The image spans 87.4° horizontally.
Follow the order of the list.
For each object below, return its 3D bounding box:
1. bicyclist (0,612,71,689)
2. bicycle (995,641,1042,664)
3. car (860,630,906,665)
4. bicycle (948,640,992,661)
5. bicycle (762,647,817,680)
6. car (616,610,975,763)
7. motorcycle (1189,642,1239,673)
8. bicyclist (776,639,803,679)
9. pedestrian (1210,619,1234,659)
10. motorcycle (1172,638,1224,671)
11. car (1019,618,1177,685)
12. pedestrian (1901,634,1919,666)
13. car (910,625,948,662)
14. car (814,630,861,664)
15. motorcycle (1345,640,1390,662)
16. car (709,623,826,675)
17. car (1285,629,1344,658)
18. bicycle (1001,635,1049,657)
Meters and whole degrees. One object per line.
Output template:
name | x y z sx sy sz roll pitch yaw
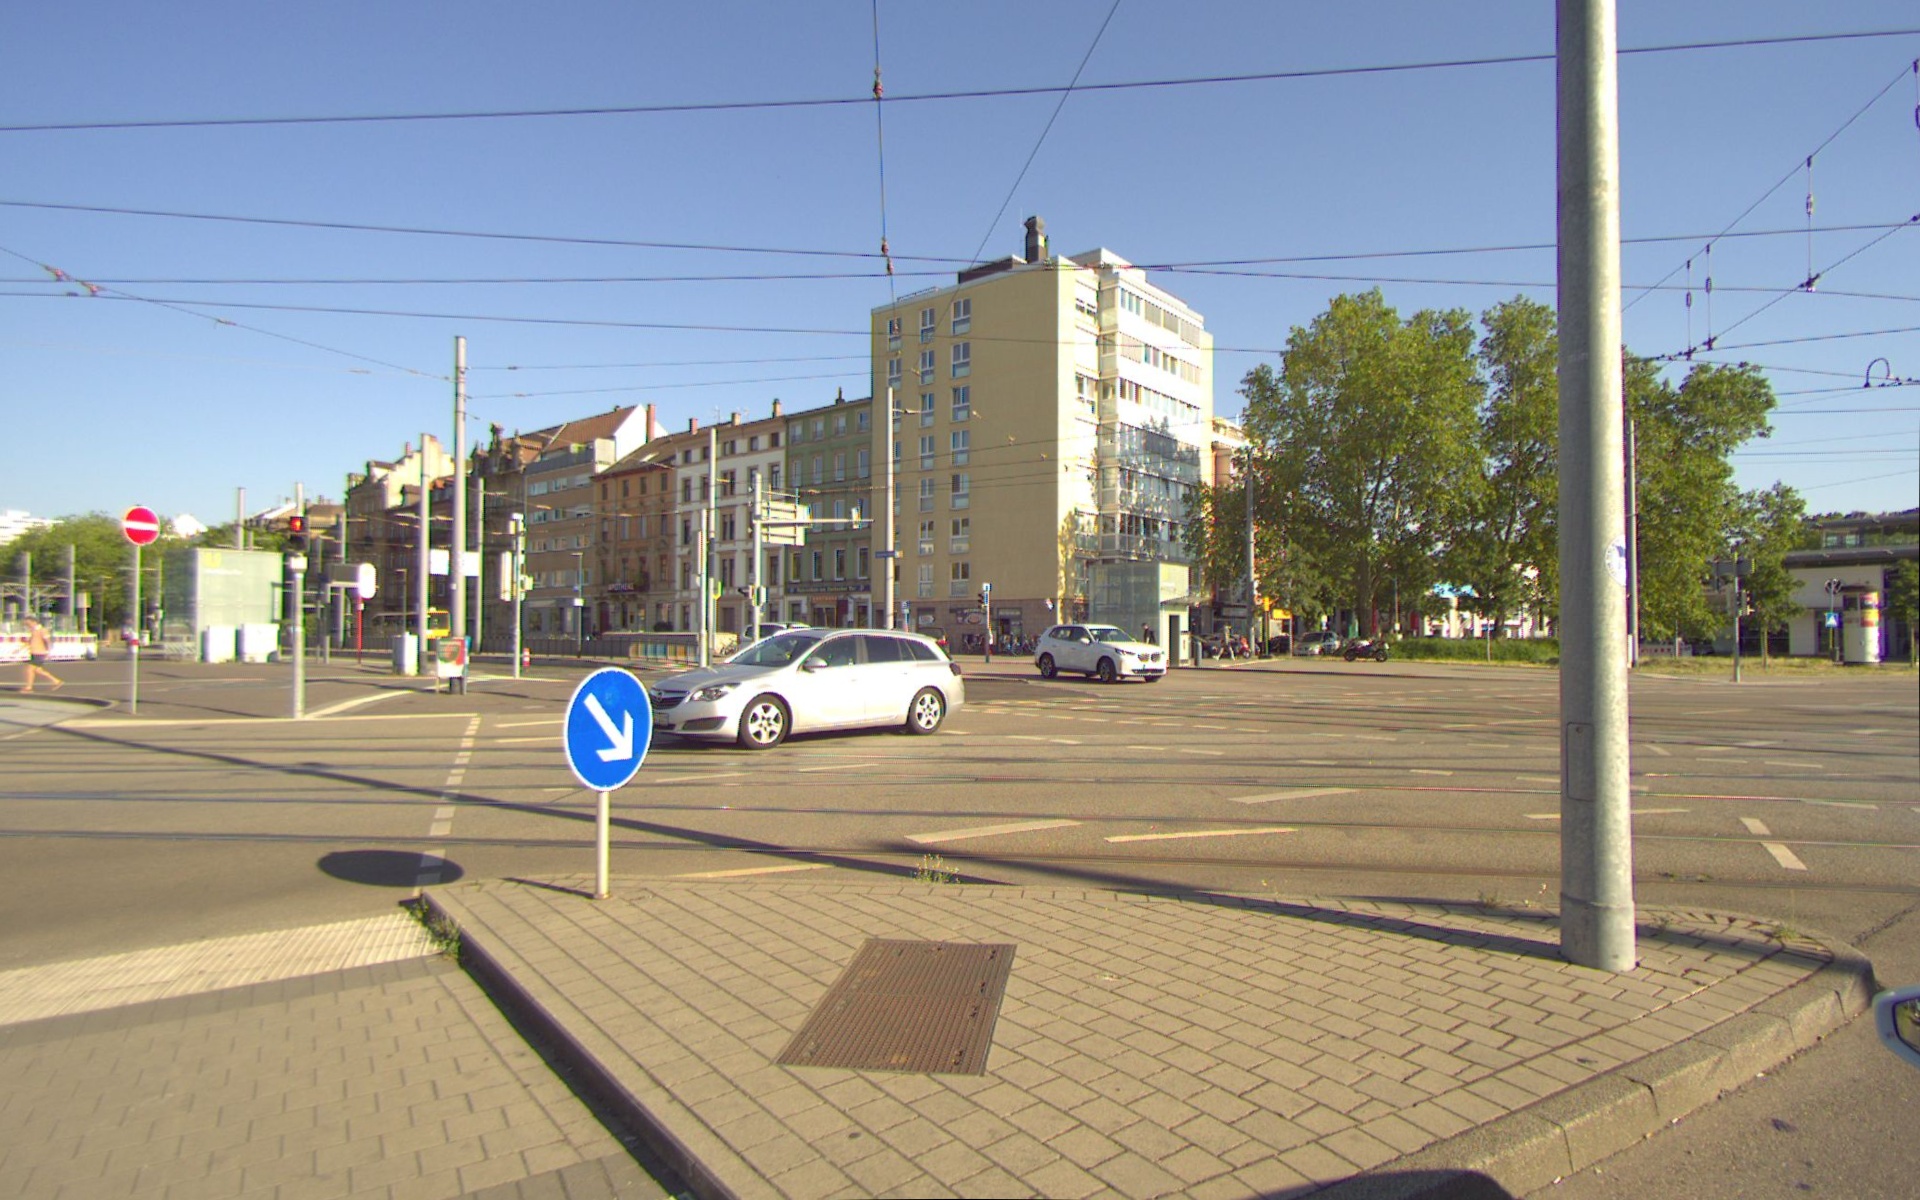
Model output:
bicyclist | -20.952 1.130 22.786 0.653 1.706 0.980 2 -1 0
bicycle | 3.386 3.018 58.286 3.001 1.167 0.637 1 -1 42
car | -4.115 2.534 54.147 1.960 1.728 4.001 2 -1 2
bicycle | 0.577 3.065 61.073 3.001 1.167 0.637 1 -1 42
bicycle | -5.993 2.224 35.350 0.616 1.104 1.915 1 -1 42
car | -2.031 1.050 13.615 1.761 1.684 4.693 1 -1 43
motorcycle | 15.760 3.550 62.410 2.645 1.793 1.349 1 -1 44
bicyclist | -6.008 2.082 35.333 0.617 1.368 0.659 1 -1 43
pedestrian | 12.737 1.887 48.845 0.748 1.911 0.792 2 -1 -24
motorcycle | 14.148 3.213 59.806 2.645 1.793 1.349 1 -1 44
car | 4.035 1.543 30.173 1.980 1.848 4.864 3 -4 -34
pedestrian | 52.404 2.751 55.248 0.491 1.716 0.851 2 -1 -33
car | -1.575 2.236 52.266 1.685 1.728 4.001 2 -1 2
car | -6.828 2.591 56.450 1.960 1.728 4.001 2 -1 2
motorcycle | 18.508 2.305 45.615 1.752 0.926 0.676 1 -1 39
car | -7.848 1.937 40.780 4.835 1.848 1.992 1 -1 39
car | 20.979 2.577 59.391 1.752 1.588 3.976 1 -1 44
bicycle | 3.786 2.686 58.847 3.001 1.167 0.637 1 -1 42
